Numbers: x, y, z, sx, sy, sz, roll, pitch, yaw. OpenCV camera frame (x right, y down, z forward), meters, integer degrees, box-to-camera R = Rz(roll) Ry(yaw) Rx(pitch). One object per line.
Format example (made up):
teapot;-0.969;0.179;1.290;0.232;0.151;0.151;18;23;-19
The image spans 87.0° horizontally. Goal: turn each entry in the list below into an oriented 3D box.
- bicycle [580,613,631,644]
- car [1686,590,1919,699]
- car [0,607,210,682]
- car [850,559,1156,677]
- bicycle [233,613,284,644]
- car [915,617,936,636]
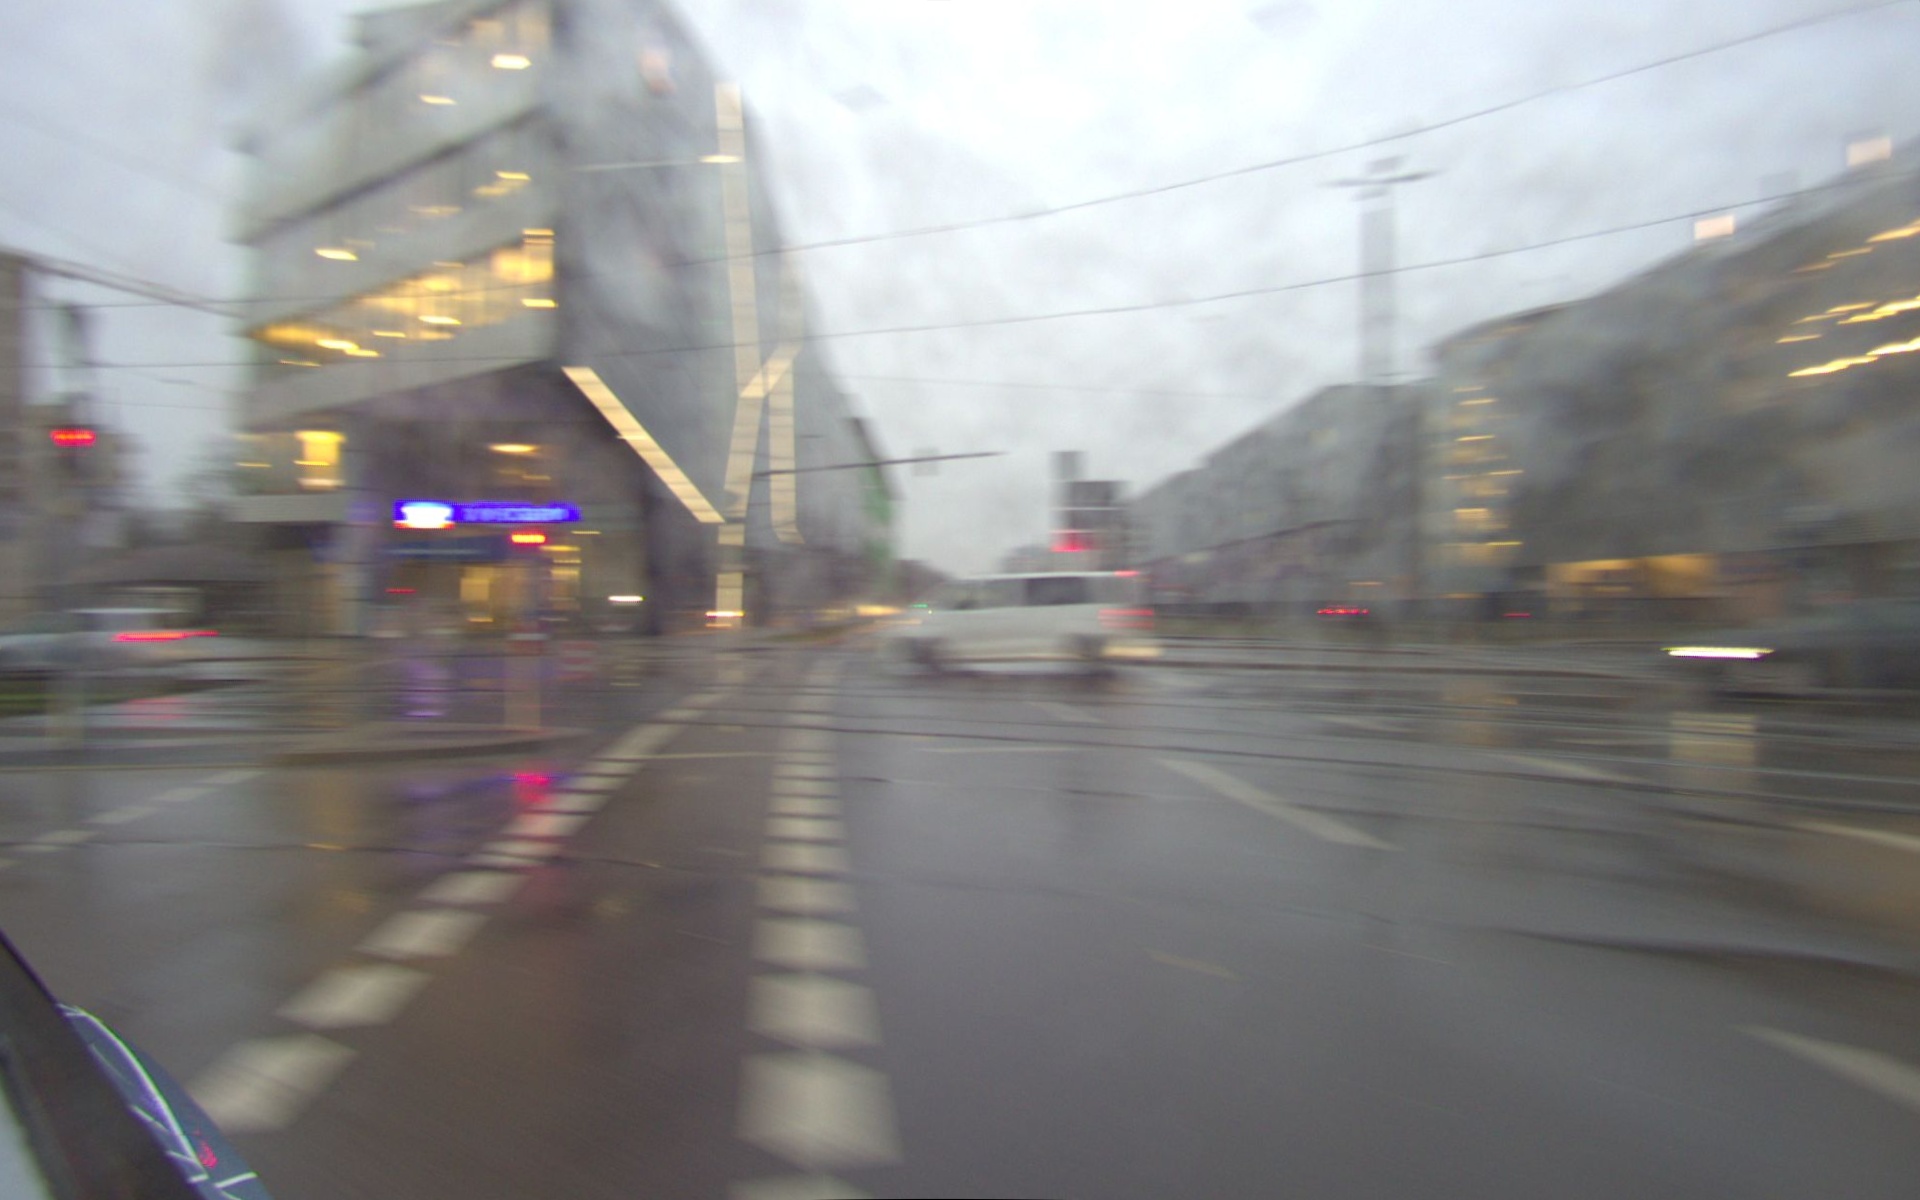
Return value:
bicycle;-12.614;1.015;36.017;1.579;1.078;0.642;-1;-1;1
car;13.077;0.597;14.229;4.400;1.455;1.615;-1;-1;27
car;-18.646;0.907;21.314;4.278;1.497;1.867;0;-1;-2
car;0.847;0.350;19.543;5.611;2.074;1.943;-1;-1;16
bicycle;-25.983;1.050;37.495;0.527;1.136;1.479;-1;-1;37
car;-3.052;2.335;90.101;1.808;1.674;4.000;0;-1;-1
